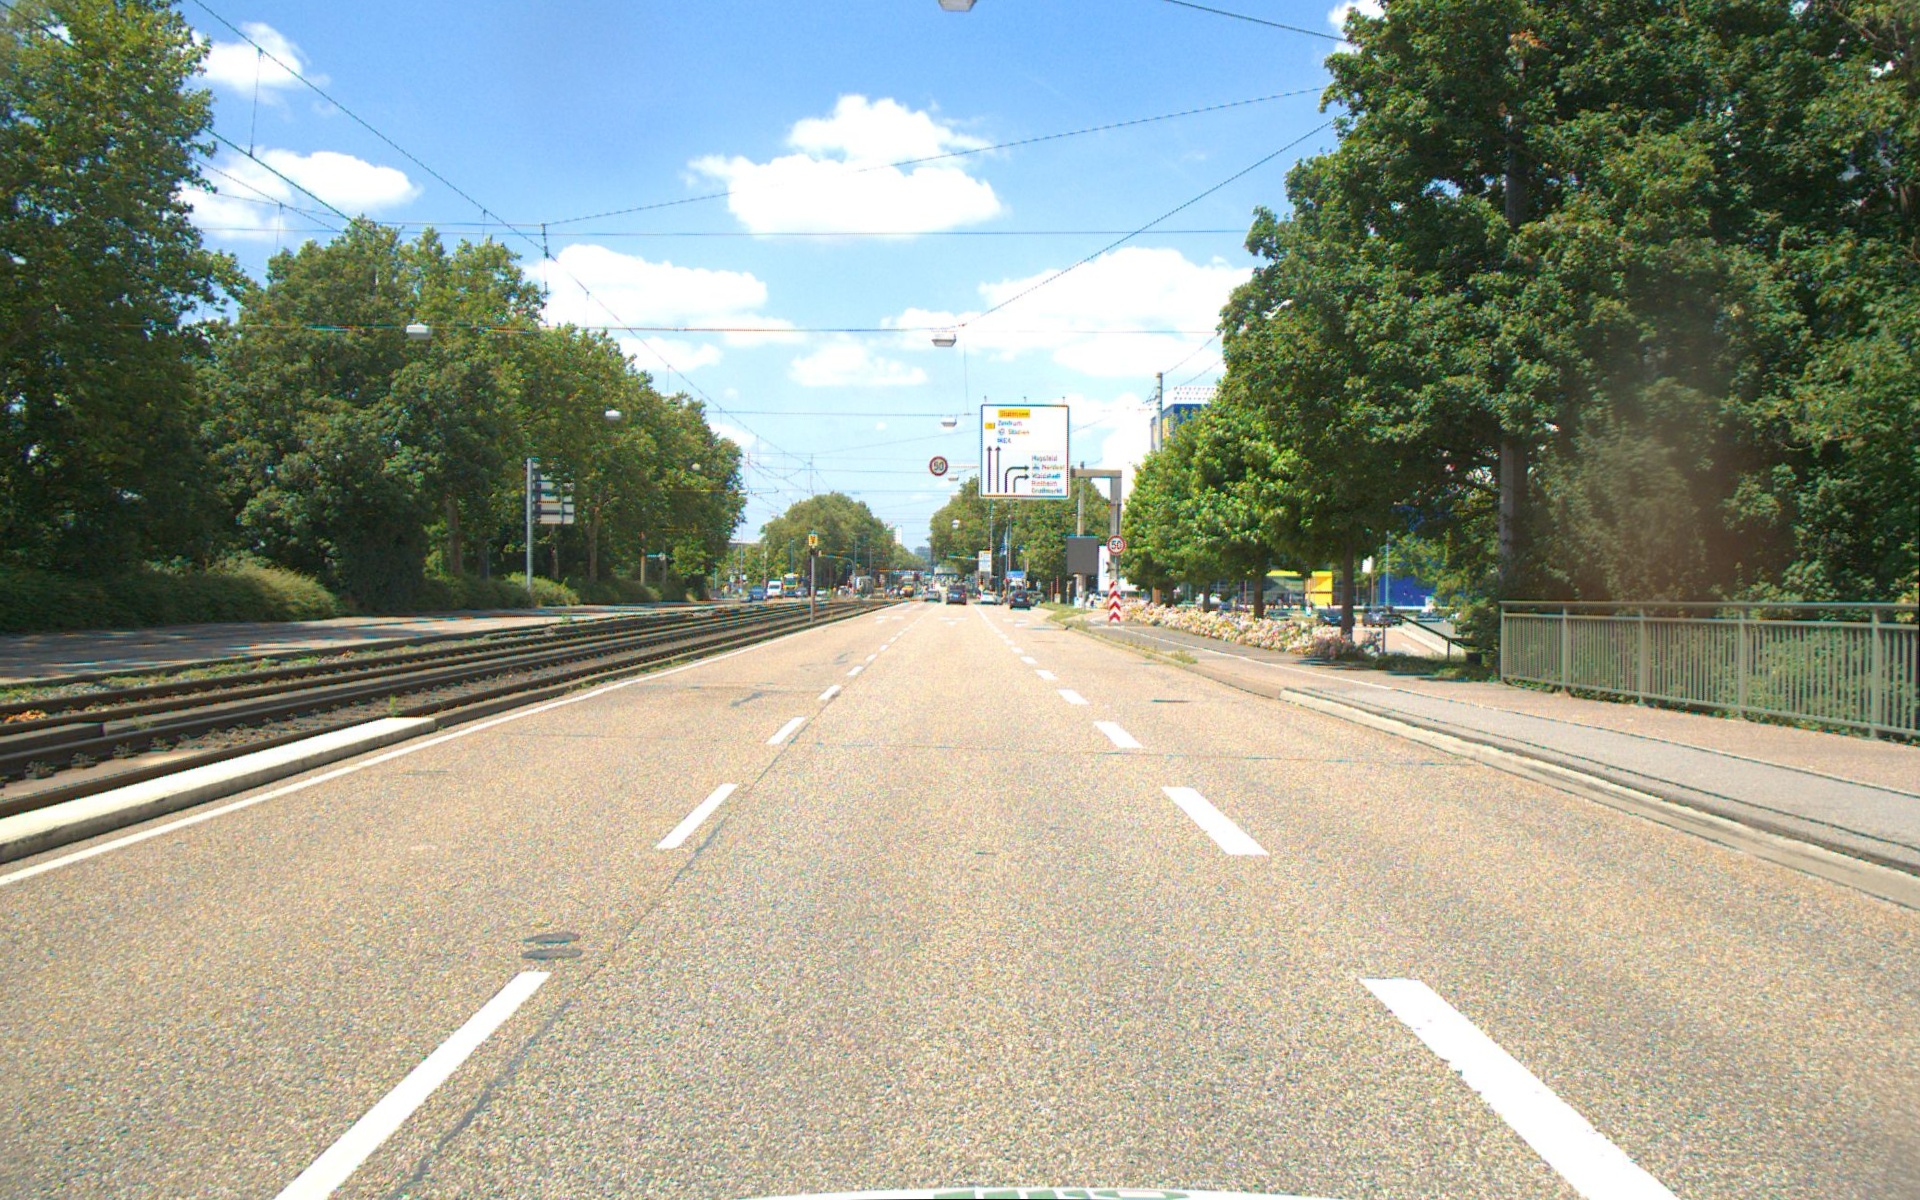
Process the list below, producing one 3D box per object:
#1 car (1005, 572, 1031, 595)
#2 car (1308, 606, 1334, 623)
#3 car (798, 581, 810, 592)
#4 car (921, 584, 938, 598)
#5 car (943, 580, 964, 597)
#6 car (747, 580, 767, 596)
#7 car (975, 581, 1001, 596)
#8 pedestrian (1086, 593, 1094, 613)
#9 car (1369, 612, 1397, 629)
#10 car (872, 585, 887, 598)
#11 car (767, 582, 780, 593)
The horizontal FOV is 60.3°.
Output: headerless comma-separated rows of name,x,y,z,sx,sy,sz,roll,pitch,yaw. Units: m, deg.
car,4.837,-1.355,138.510,1.861,1.837,3.976,2,0,-1
car,35.045,1.411,160.480,1.539,1.508,3.887,2,0,-2
car,-24.015,-2.028,254.704,1.590,1.577,3.703,2,0,-1
car,-3.587,-1.069,193.098,1.805,1.576,3.775,2,0,-3
car,-0.645,-1.087,160.235,1.838,1.566,3.776,2,0,-1
car,-20.687,-1.233,168.594,1.611,1.577,4.215,2,0,-2
car,3.286,-1.358,192.017,1.651,1.577,3.983,2,0,22
pedestrian,11.753,0.267,149.420,0.568,1.823,0.589,2,0,-2
car,40.118,1.917,157.013,1.539,1.508,3.887,2,0,-2
car,-10.259,-1.033,210.665,1.805,1.576,3.775,2,0,-2
car,-27.481,-1.812,243.668,1.590,1.577,3.703,2,0,-1
